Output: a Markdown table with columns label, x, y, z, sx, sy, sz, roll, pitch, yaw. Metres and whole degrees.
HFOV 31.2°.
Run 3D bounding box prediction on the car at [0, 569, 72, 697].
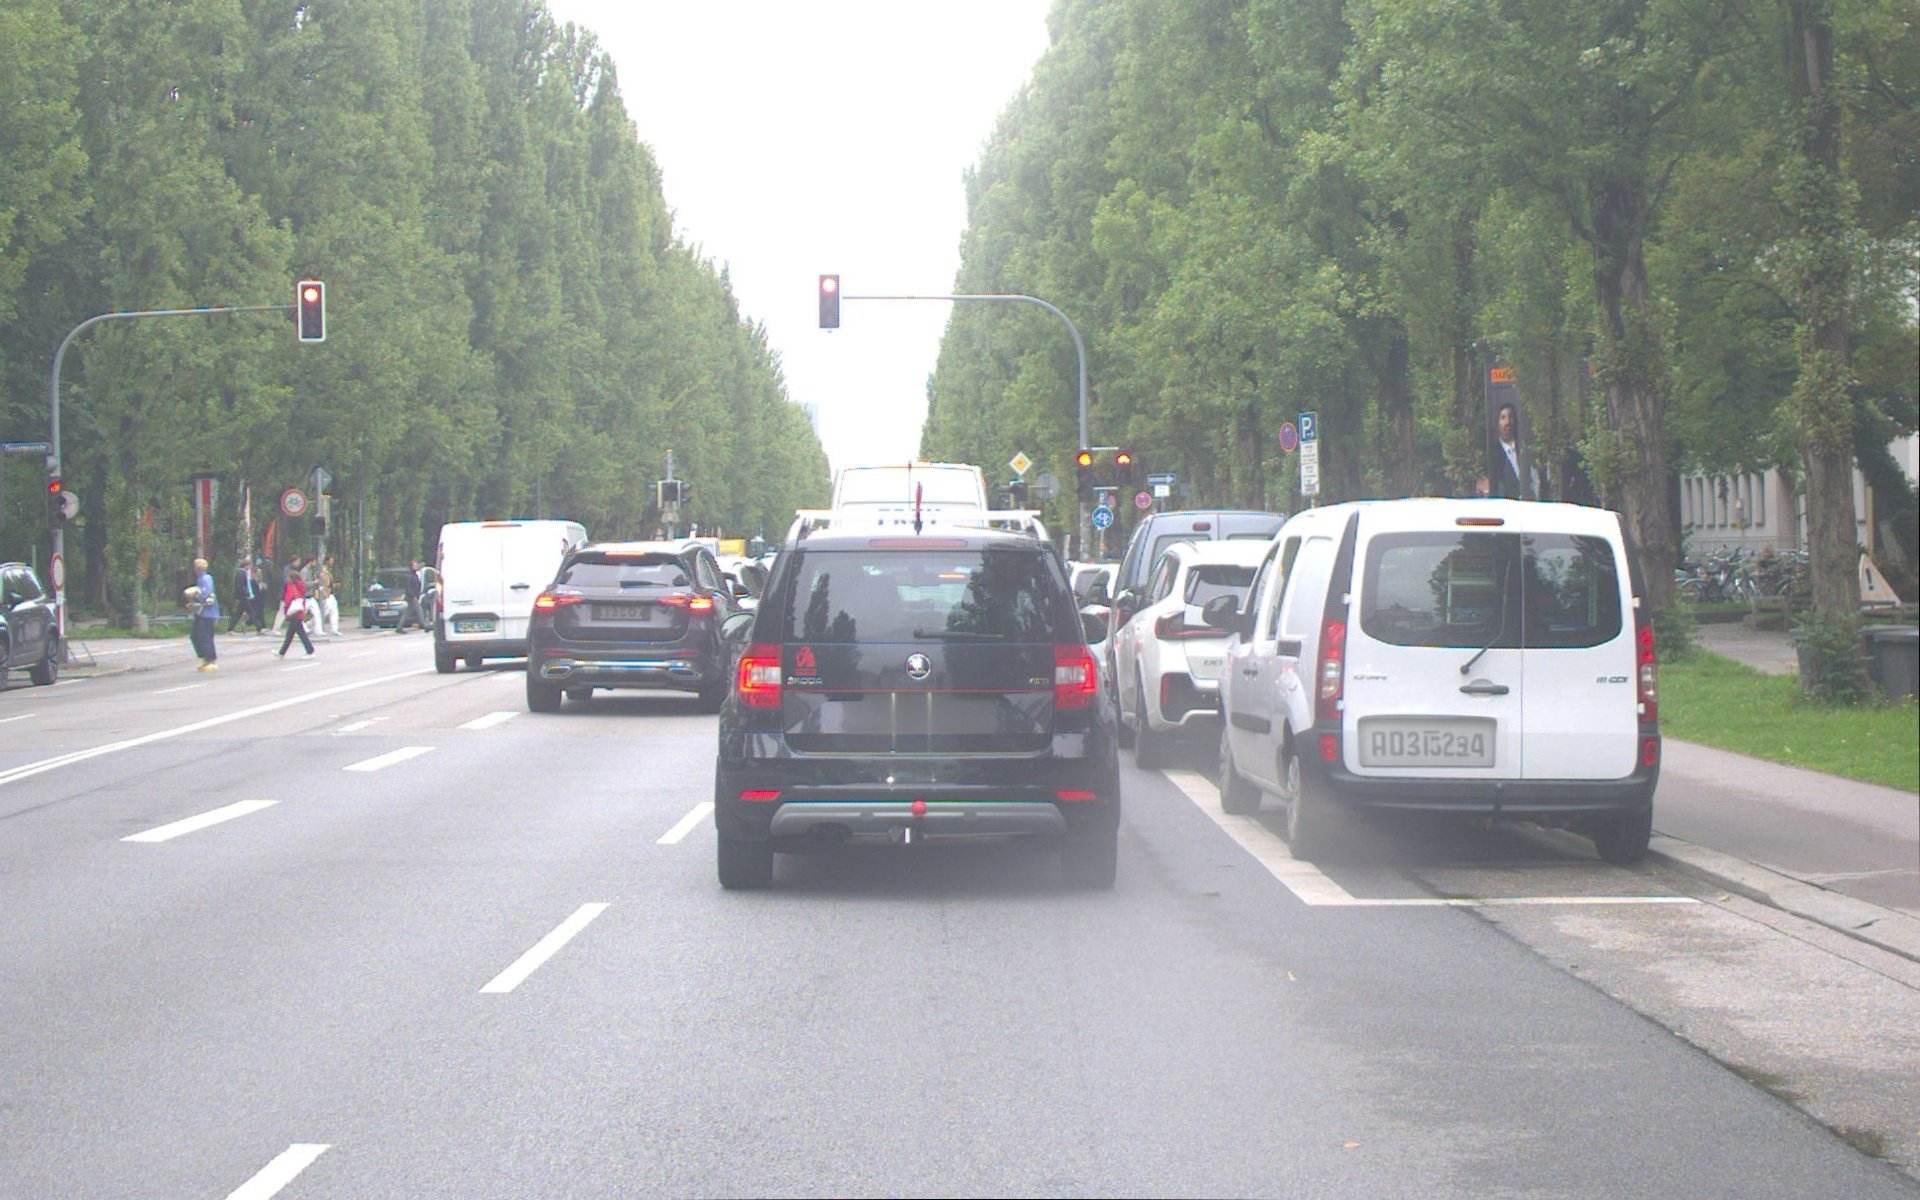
| label | x | y | z | sx | sy | sz | roll | pitch | yaw |
| --- | --- | --- | --- | --- | --- | --- | --- | --- | --- |
| car | -13.698 | 0.465 | 47.366 | 1.849 | 1.648 | 4.696 | -3 | 1 | -3 |

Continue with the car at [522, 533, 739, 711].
| label | x | y | z | sx | sy | sz | roll | pitch | yaw |
| --- | --- | --- | --- | --- | --- | --- | --- | --- | --- |
| car | -3.173 | 0.167 | 33.765 | 1.781 | 1.614 | 4.025 | 1 | 1 | -1 |

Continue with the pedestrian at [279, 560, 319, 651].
| label | x | y | z | sx | sy | sz | roll | pitch | yaw |
| --- | --- | --- | --- | --- | --- | --- | --- | --- | --- |
| pedestrian | -10.877 | 0.082 | 56.552 | 0.517 | 1.480 | 0.536 | -2 | 1 | 0 |

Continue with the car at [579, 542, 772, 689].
| label | x | y | z | sx | sy | sz | roll | pitch | yaw |
| --- | --- | --- | --- | --- | --- | --- | --- | --- | --- |
| car | -3.263 | 0.134 | 40.103 | 1.993 | 1.555 | 4.001 | -1 | 1 | -2 |

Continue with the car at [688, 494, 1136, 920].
| label | x | y | z | sx | sy | sz | roll | pitch | yaw |
| --- | --- | --- | --- | --- | --- | --- | --- | --- | --- |
| car | -0.222 | 0.419 | 16.457 | 1.855 | 1.764 | 4.000 | 1 | 1 | -1 |

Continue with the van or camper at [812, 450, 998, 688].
| label | x | y | z | sx | sy | sz | roll | pitch | yaw |
| --- | --- | --- | --- | --- | --- | --- | --- | --- | --- |
| van or camper | -0.680 | -0.372 | 39.351 | 1.975 | 2.540 | 4.025 | -1 | 1 | -2 |

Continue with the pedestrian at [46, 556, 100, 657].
| label | x | y | z | sx | sy | sz | roll | pitch | yaw |
| --- | --- | --- | --- | --- | --- | --- | --- | --- | --- |
| pedestrian | -13.958 | 0.097 | 54.100 | 0.660 | 1.572 | 0.530 | -2 | 1 | 0 |

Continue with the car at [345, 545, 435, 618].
| label | x | y | z | sx | sy | sz | roll | pitch | yaw |
| --- | --- | --- | --- | --- | --- | --- | --- | --- | --- |
| car | -14.465 | -0.497 | 87.395 | 1.688 | 1.777 | 3.775 | -1 | 1 | -1 |

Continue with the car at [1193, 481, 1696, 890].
| label | x | y | z | sx | sy | sz | roll | pitch | yaw |
| --- | --- | --- | --- | --- | --- | --- | --- | --- | --- |
| car | 2.415 | 0.360 | 18.181 | 1.851 | 1.875 | 4.169 | -1 | 1 | -3 |

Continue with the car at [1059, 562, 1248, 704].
| label | x | y | z | sx | sy | sz | roll | pitch | yaw |
| --- | --- | --- | --- | --- | --- | --- | --- | --- | --- |
| car | 2.017 | 0.315 | 36.714 | 1.735 | 1.382 | 3.563 | -1 | 1 | -1 |

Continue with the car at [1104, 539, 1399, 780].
| label | x | y | z | sx | sy | sz | roll | pitch | yaw |
| --- | --- | --- | --- | --- | --- | --- | --- | --- | --- |
| car | 2.060 | 0.364 | 25.364 | 1.741 | 1.587 | 4.212 | -1 | 1 | -1 |

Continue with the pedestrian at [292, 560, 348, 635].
| label | x | y | z | sx | sy | sz | roll | pitch | yaw |
| --- | --- | --- | --- | --- | --- | --- | --- | --- | --- |
| pedestrian | -14.313 | -0.050 | 76.876 | 0.880 | 1.649 | 0.878 | -2 | 1 | -38 |

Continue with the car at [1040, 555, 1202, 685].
| label | x | y | z | sx | sy | sz | roll | pitch | yaw |
| --- | --- | --- | --- | --- | --- | --- | --- | --- | --- |
| car | 1.925 | 0.213 | 42.015 | 1.735 | 1.470 | 3.563 | -1 | 1 | -1 |

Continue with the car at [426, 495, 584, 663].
| label | x | y | z | sx | sy | sz | roll | pitch | yaw |
| --- | --- | --- | --- | --- | --- | --- | --- | --- | --- |
| car | -6.016 | -0.301 | 45.781 | 1.781 | 2.104 | 4.025 | -1 | 1 | -4 |

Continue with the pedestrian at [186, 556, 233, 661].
| label | x | y | z | sx | sy | sz | roll | pitch | yaw |
| --- | --- | --- | --- | --- | --- | --- | --- | --- | --- |
| pedestrian | -11.444 | 0.121 | 52.436 | 0.528 | 1.572 | 0.662 | -2 | 1 | 0 |

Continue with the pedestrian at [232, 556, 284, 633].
| label | x | y | z | sx | sy | sz | roll | pitch | yaw |
| --- | --- | --- | --- | --- | --- | --- | --- | --- | --- |
| pedestrian | -16.249 | -0.127 | 79.579 | 0.880 | 1.758 | 0.878 | -1 | 1 | 9 |

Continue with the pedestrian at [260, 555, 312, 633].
| label | x | y | z | sx | sy | sz | roll | pitch | yaw |
| --- | --- | --- | --- | --- | --- | --- | --- | --- | --- |
| pedestrian | -15.410 | -0.142 | 78.573 | 0.880 | 1.758 | 0.878 | -1 | 1 | 9 |

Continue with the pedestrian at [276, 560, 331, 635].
| label | x | y | z | sx | sy | sz | roll | pitch | yaw |
| --- | --- | --- | --- | --- | --- | --- | --- | --- | --- |
| pedestrian | -14.826 | -0.055 | 77.620 | 0.880 | 1.649 | 0.878 | -2 | 1 | -38 |

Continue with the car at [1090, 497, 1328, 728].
| label | x | y | z | sx | sy | sz | roll | pitch | yaw |
| --- | --- | --- | --- | --- | --- | --- | --- | --- | --- |
| car | 2.152 | 0.067 | 30.635 | 1.735 | 1.889 | 4.025 | -1 | 1 | -1 |

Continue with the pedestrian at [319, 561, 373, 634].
| label | x | y | z | sx | sy | sz | roll | pitch | yaw |
| --- | --- | --- | --- | --- | --- | --- | --- | --- | --- |
| pedestrian | -14.064 | -0.067 | 78.777 | 0.880 | 1.649 | 0.878 | -2 | 1 | -38 |
